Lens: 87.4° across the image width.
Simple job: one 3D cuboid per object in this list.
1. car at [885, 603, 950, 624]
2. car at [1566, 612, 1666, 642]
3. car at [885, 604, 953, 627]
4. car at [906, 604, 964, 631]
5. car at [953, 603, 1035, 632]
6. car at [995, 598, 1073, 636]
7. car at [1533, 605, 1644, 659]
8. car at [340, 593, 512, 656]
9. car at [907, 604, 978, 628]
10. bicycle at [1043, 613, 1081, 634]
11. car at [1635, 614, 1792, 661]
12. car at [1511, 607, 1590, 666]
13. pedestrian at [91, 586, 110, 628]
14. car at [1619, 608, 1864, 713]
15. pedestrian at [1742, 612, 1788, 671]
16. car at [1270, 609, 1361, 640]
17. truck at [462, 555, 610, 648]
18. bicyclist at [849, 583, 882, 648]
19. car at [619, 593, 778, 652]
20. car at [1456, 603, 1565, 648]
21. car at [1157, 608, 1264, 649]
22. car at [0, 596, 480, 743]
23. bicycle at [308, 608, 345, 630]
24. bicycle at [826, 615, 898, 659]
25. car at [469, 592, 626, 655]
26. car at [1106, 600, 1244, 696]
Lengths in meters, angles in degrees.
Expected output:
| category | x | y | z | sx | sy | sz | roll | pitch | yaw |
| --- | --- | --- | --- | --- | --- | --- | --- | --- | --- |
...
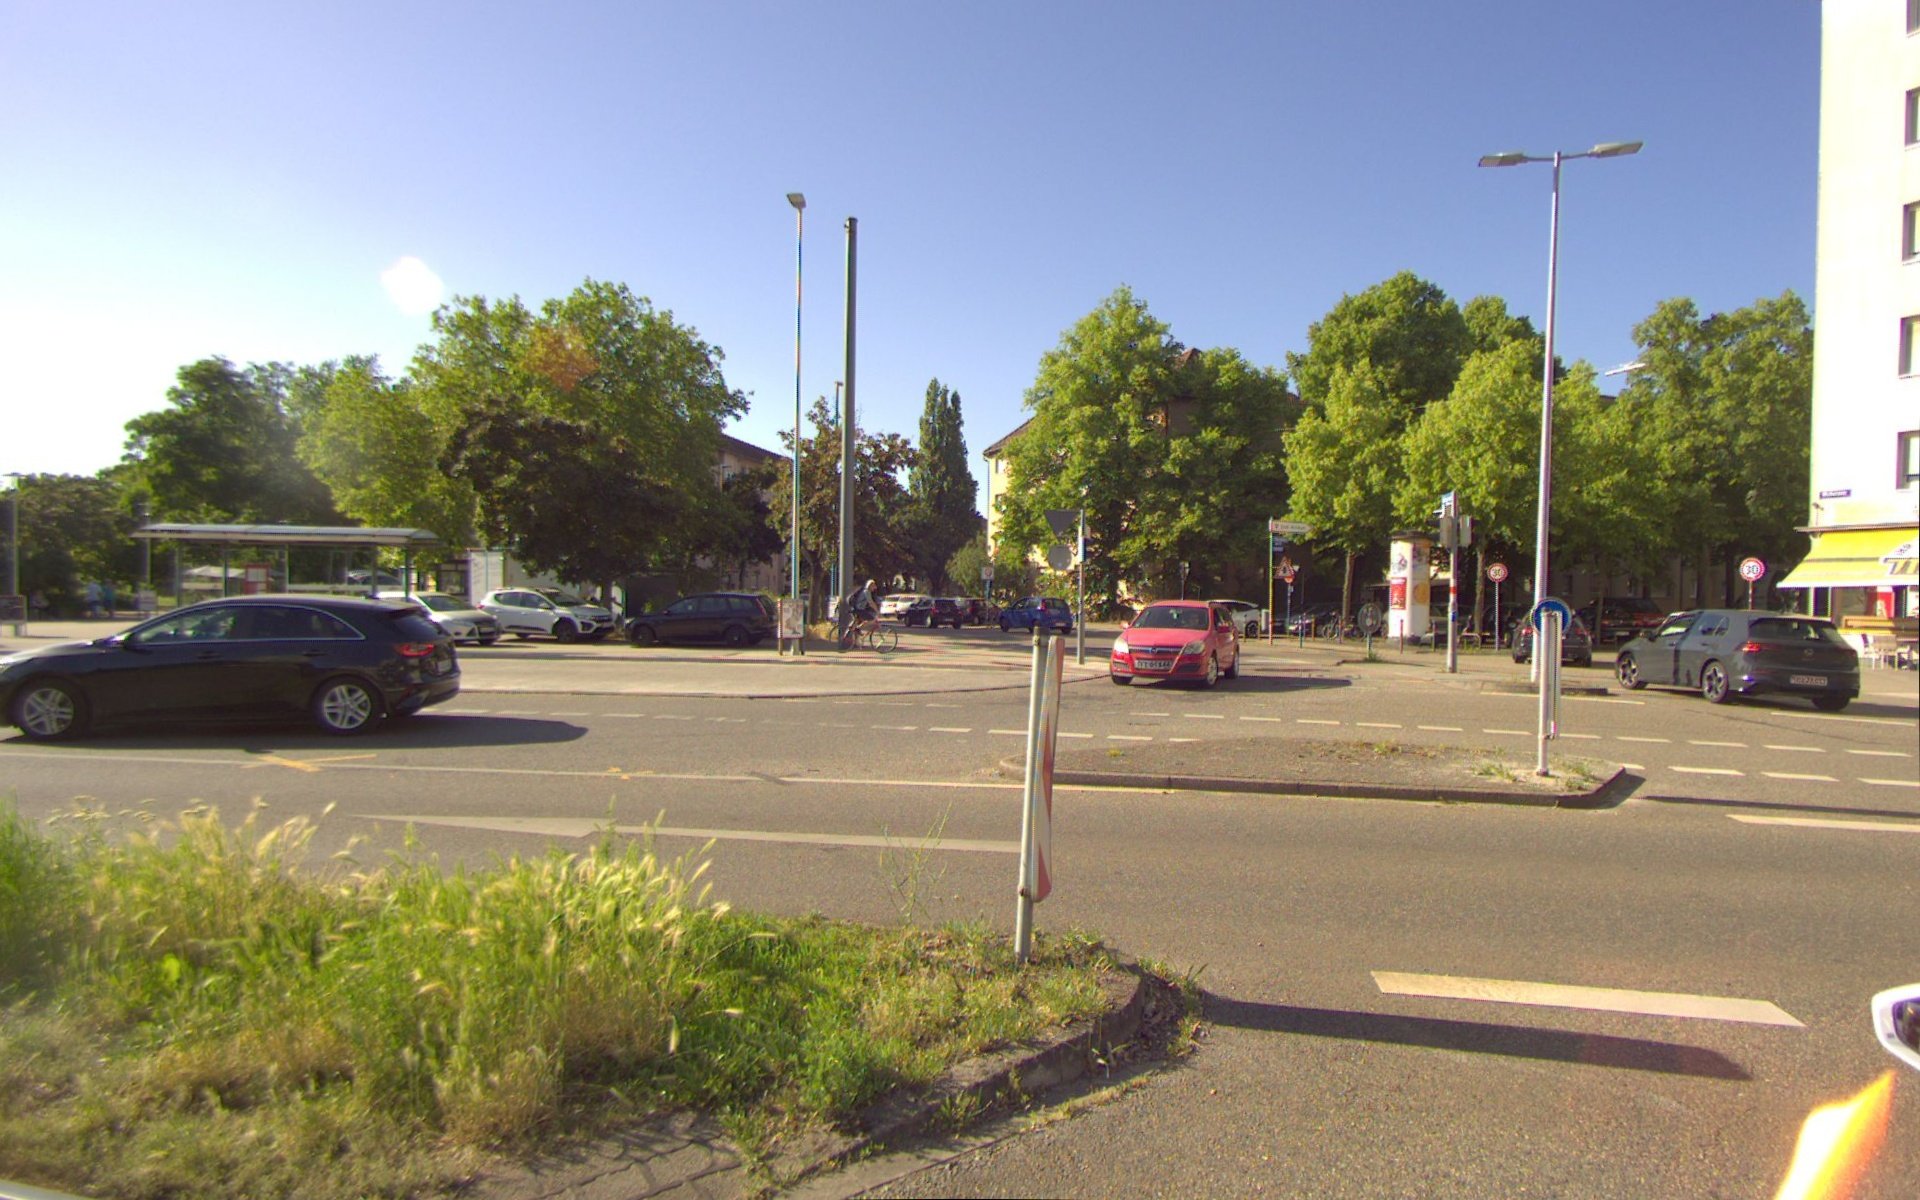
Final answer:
| category | x | y | z | sx | sy | sz | roll | pitch | yaw |
| --- | --- | --- | --- | --- | --- | --- | --- | --- | --- |
| car | -2.832 | 0.881 | 66.526 | 3.923 | 1.356 | 1.805 | 1 | 0 | 23 |
| car | 28.465 | 1.153 | 43.681 | 3.377 | 1.206 | 1.667 | 1 | 0 | 23 |
| car | -2.602 | 0.974 | 63.866 | 3.923 | 1.356 | 1.805 | 1 | 0 | 23 |
| car | -1.275 | 0.838 | 49.813 | 1.672 | 1.270 | 3.604 | 1 | 0 | -24 |
| car | 1.800 | 0.913 | 53.023 | 3.947 | 1.460 | 1.906 | 1 | 0 | -26 |
| car | 2.980 | 0.665 | 40.871 | 1.630 | 1.457 | 3.372 | 1 | 0 | -27 |
| car | 19.687 | 0.954 | 31.404 | 4.384 | 1.599 | 1.732 | 1 | 0 | -41 |
| car | -14.964 | 0.631 | 28.154 | 4.462 | 1.565 | 1.871 | 1 | 3 | 24 |
| car | -1.070 | 0.969 | 60.746 | 3.923 | 1.356 | 1.805 | 1 | 0 | 23 |
| bicycle | 4.912 | 1.125 | 48.201 | 1.887 | 1.008 | 0.505 | 0 | 0 | -30 |
| car | 22.826 | 1.115 | 30.450 | 3.939 | 1.327 | 1.991 | 1 | 0 | -20 |
| car | 16.393 | 0.954 | 28.034 | 1.734 | 1.506 | 4.286 | 1 | 0 | 29 |
| pedestrian | -37.885 | 0.311 | 44.275 | 0.553 | 1.854 | 0.721 | 1 | 0 | -33 |
| car | 12.350 | 0.872 | 16.188 | 1.593 | 1.448 | 3.690 | 1 | 0 | 11 |
| pedestrian | 23.200 | 1.184 | 28.943 | 0.820 | 1.643 | 0.788 | 0 | 0 | -29 |
| car | 15.820 | 1.075 | 44.752 | 3.645 | 1.311 | 1.592 | 0 | 0 | -20 |
| truck | -14.866 | 0.028 | 35.513 | 1.961 | 3.035 | 4.826 | 0 | 1 | 23 |
| bicyclist | -2.309 | 0.370 | 24.531 | 0.666 | 1.551 | 0.611 | -1 | 2 | -20 |
| car | -7.262 | 0.606 | 28.148 | 3.928 | 1.509 | 1.764 | 0 | 3 | 2 |
| car | 20.762 | 0.944 | 37.964 | 1.648 | 1.623 | 3.285 | 0 | 0 | -26 |
| car | 10.692 | 1.194 | 42.961 | 4.158 | 1.639 | 1.759 | 0 | 1 | -17 |
| car | -7.591 | 0.692 | 10.774 | 4.075 | 1.410 | 1.662 | 1 | 0 | -10 |
| bicycle | -26.164 | 0.767 | 41.466 | 1.655 | 0.850 | 0.547 | 1 | 0 | 28 |
| bicycle | -2.392 | 0.883 | 24.514 | 1.633 | 1.015 | 0.611 | -1 | 1 | -20 |
| car | -12.214 | 0.670 | 29.900 | 3.919 | 1.741 | 1.764 | 0 | 3 | 8 |
| car | 4.078 | 0.782 | 18.474 | 1.721 | 1.509 | 4.542 | 1 | 0 | 22 |
